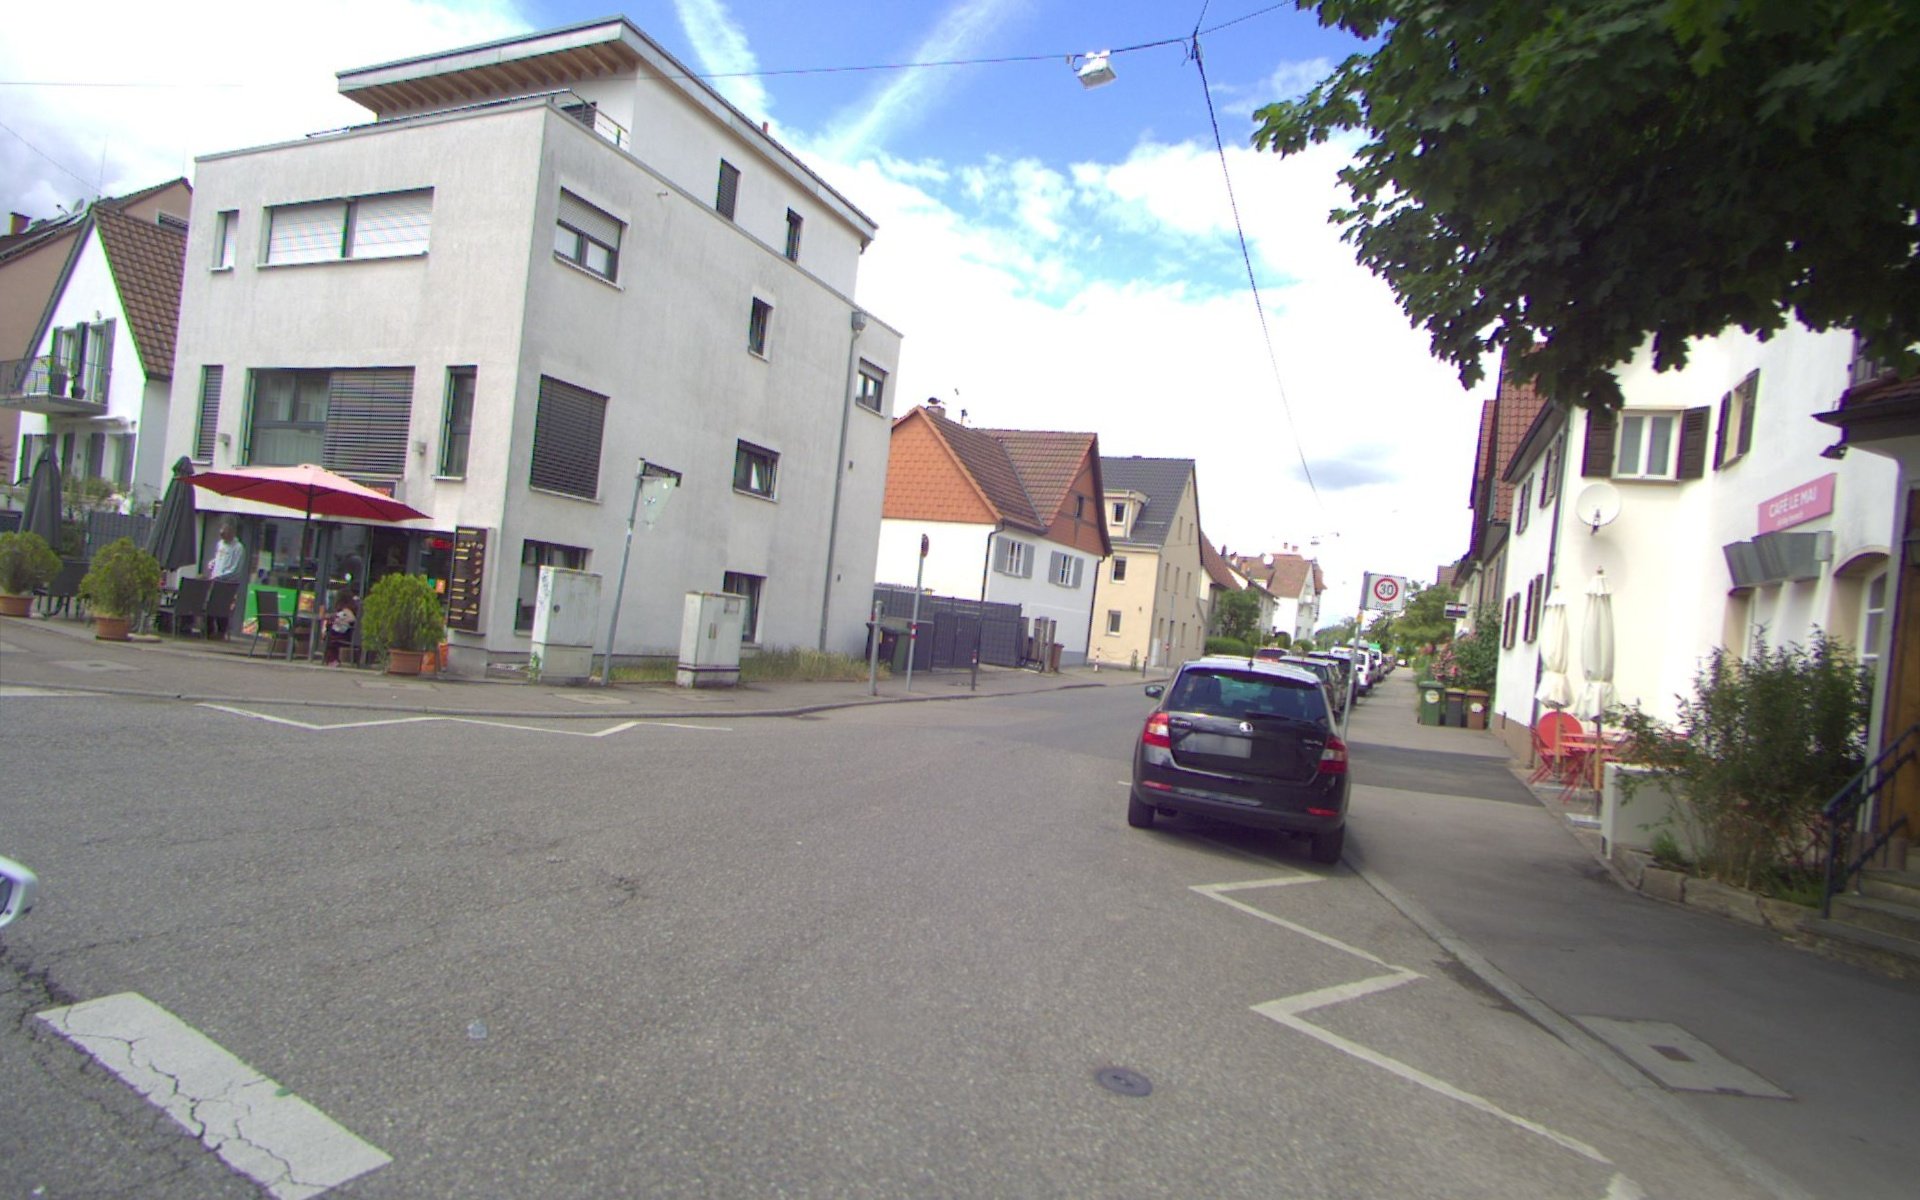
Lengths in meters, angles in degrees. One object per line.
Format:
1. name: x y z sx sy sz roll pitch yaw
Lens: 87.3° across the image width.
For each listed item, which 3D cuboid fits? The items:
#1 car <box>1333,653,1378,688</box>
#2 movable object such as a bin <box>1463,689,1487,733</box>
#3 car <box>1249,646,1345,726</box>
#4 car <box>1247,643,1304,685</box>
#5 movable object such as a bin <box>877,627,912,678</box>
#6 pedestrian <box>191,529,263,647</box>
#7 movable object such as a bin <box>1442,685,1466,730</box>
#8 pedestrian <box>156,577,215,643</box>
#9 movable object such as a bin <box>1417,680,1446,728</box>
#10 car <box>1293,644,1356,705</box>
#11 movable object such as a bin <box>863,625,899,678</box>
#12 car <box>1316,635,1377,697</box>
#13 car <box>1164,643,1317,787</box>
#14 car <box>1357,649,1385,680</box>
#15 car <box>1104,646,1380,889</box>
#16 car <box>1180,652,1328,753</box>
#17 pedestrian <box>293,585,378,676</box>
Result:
1. car: 19.809 3.534 50.274 1.713 1.490 3.711 6 -2 25
2. movable object such as a bin: 12.407 2.661 24.233 0.389 1.010 0.392 6 -1 22
3. car: 8.050 2.012 23.808 1.756 1.525 4.125 6 -2 23
4. car: 13.532 2.762 43.003 1.671 1.502 4.123 6 -2 25
5. movable object such as a bin: -1.546 1.239 23.751 0.518 1.142 0.527 6 -1 24
6. pedestrian: -11.589 -0.186 15.909 0.663 1.783 0.429 6 -1 11
7. movable object such as a bin: 11.971 2.606 24.392 0.408 1.027 0.392 6 -1 22
8. pedestrian: -11.909 0.164 15.468 0.488 0.949 0.420 6 -1 11
9. movable object such as a bin: 11.528 2.526 24.579 0.518 1.097 0.392 6 -1 22
10. car: 12.028 2.466 33.056 1.597 1.701 4.125 6 -2 23
11. movable object such as a bin: -1.812 1.187 23.160 0.518 1.142 0.527 6 -1 24
12. car: 16.069 2.769 41.669 1.863 2.250 4.123 6 -2 25
13. car: 3.865 1.477 13.655 1.621 1.503 3.428 6 -2 19
14. car: 26.169 4.127 64.055 1.338 1.752 3.061 6 -2 25
15. car: 2.549 1.272 9.262 1.745 1.433 4.186 8 0 15
16. car: 5.365 1.759 17.944 1.757 1.376 4.363 6 -1 26
17. pedestrian: -8.111 0.401 13.082 0.622 1.101 0.568 6 -1 7
